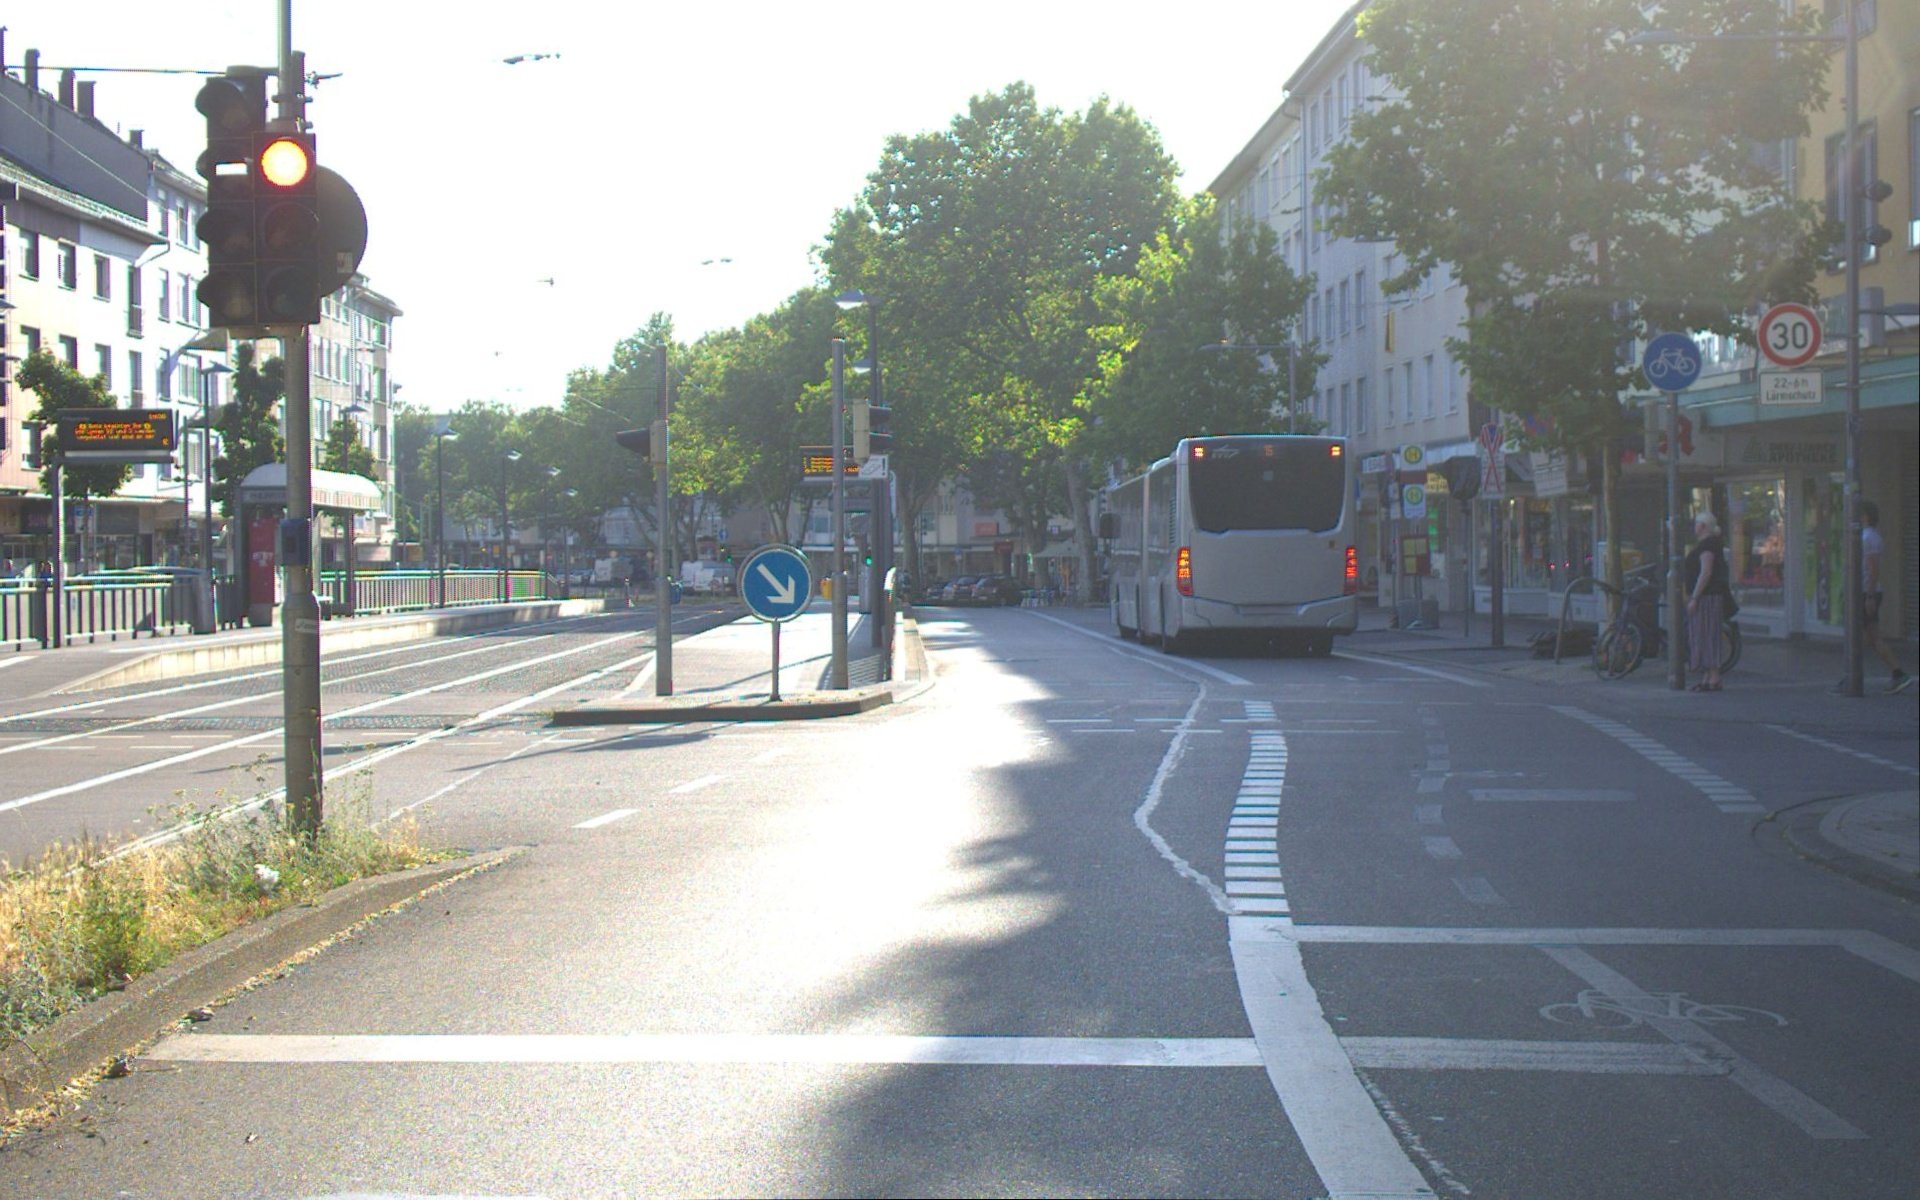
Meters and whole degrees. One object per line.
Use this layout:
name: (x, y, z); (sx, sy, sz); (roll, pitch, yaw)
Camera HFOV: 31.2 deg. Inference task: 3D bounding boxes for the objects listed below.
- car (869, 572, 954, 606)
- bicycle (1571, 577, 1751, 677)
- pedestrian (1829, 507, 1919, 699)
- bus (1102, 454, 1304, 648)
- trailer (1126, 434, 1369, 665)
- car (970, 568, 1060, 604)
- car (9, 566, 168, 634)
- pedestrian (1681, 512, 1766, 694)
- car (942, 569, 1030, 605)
car: (-2.440, -0.559, 172.385); (3.889, 1.591, 1.691); (-1, 1, -28)
bicycle: (7.608, 0.287, 37.354); (1.772, 1.018, 0.694); (-2, 1, 0)
pedestrian: (8.514, 0.018, 31.986); (0.680, 1.764, 0.687); (0, 1, 1)
bus: (4.149, -0.861, 60.682); (2.812, 3.091, 9.094); (2, 1, 0)
trailer: (4.171, -0.756, 51.749); (2.812, 3.100, 8.795); (2, 1, 0)
car: (2.624, -0.676, 164.765); (3.889, 1.693, 1.833); (-1, 1, -28)
car: (-24.371, -0.019, 96.148); (3.986, 1.809, 2.000); (-1, 1, -26)
pedestrian: (7.496, 0.022, 33.753); (0.680, 1.764, 0.687); (0, 1, 1)
car: (1.293, -0.649, 168.138); (3.889, 1.693, 1.833); (-1, 1, -28)
